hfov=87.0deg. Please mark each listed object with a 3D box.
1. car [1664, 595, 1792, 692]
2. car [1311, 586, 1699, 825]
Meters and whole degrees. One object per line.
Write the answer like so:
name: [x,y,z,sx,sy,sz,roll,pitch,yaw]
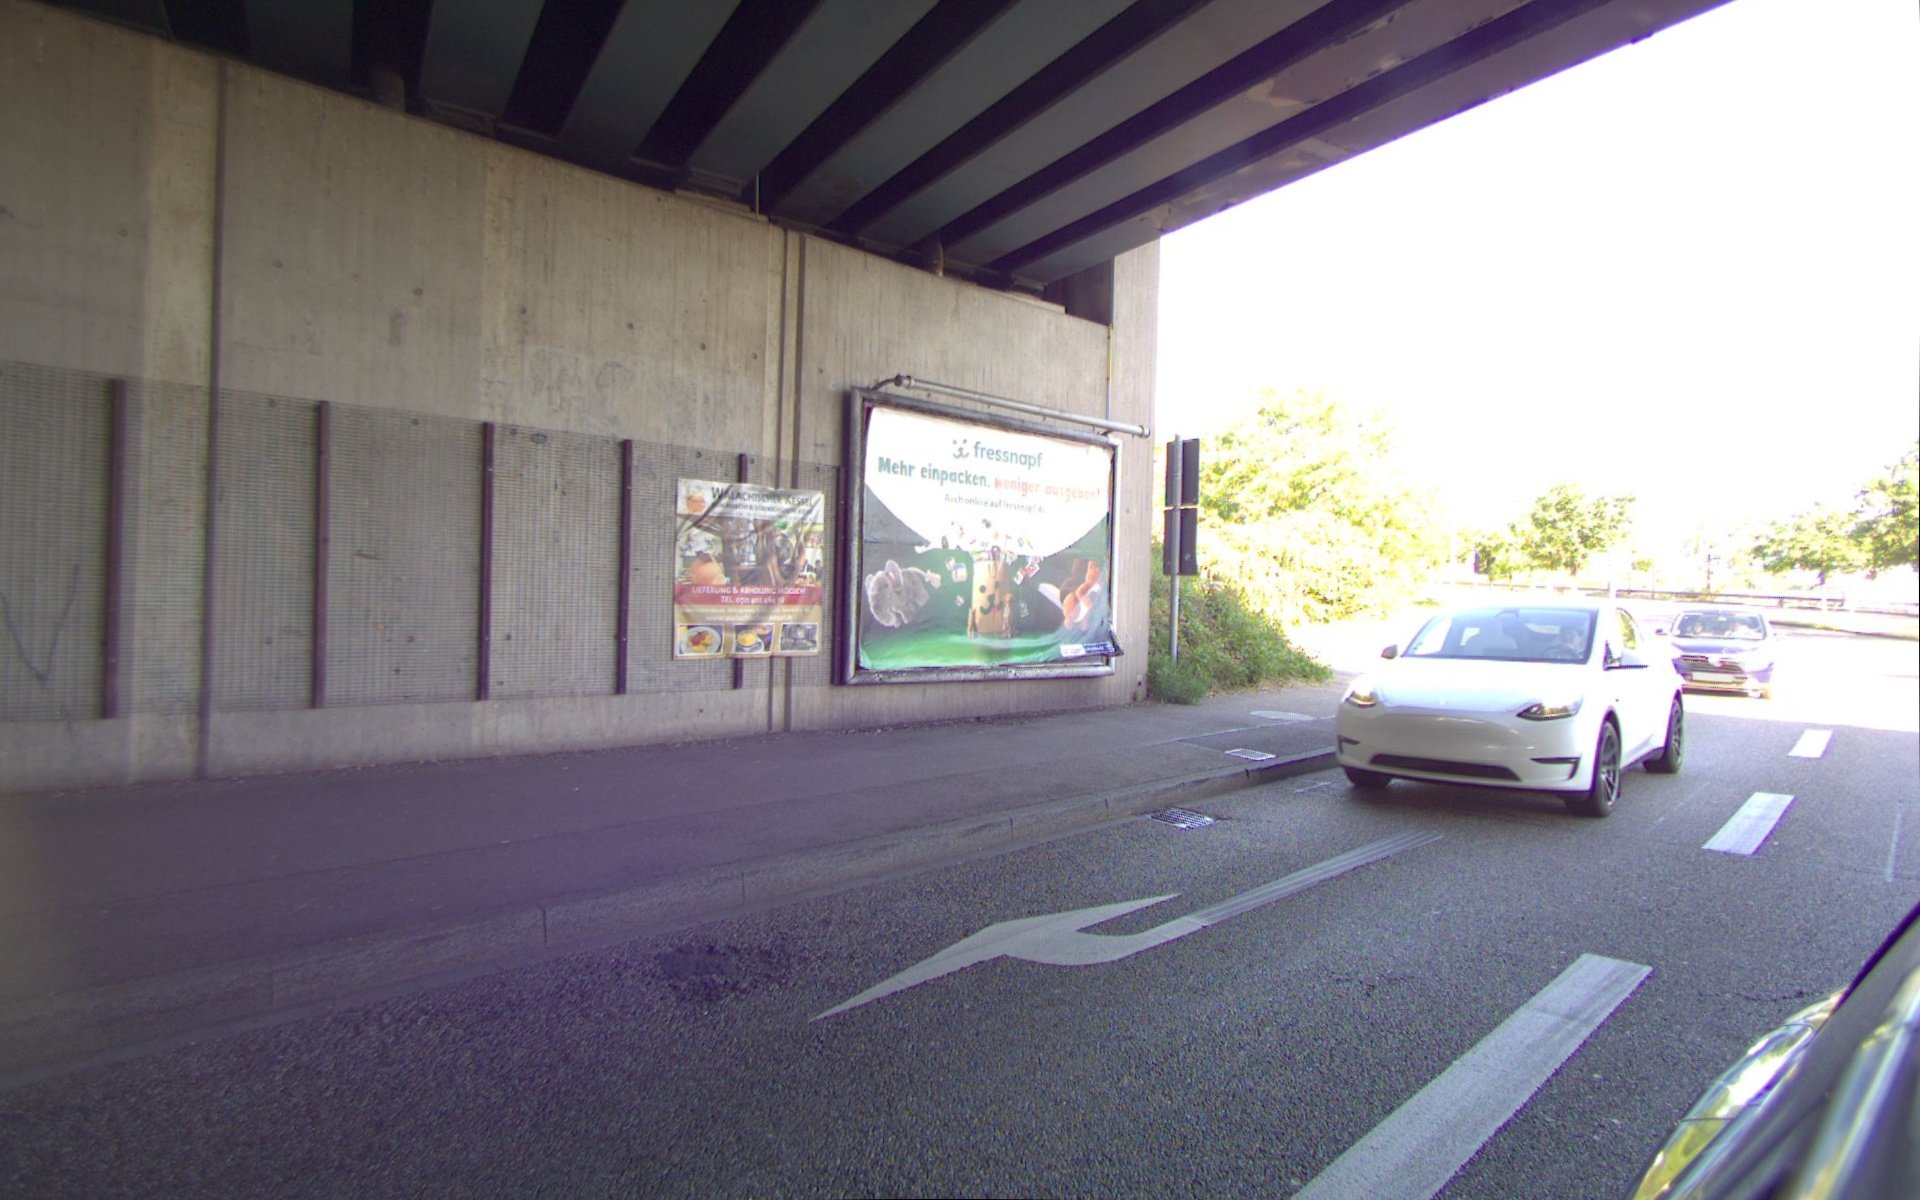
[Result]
car: [14.713,0.737,19.376,1.771,1.621,4.048,0,0,38]
car: [5.020,0.686,8.998,1.993,1.571,4.352,-1,0,43]
